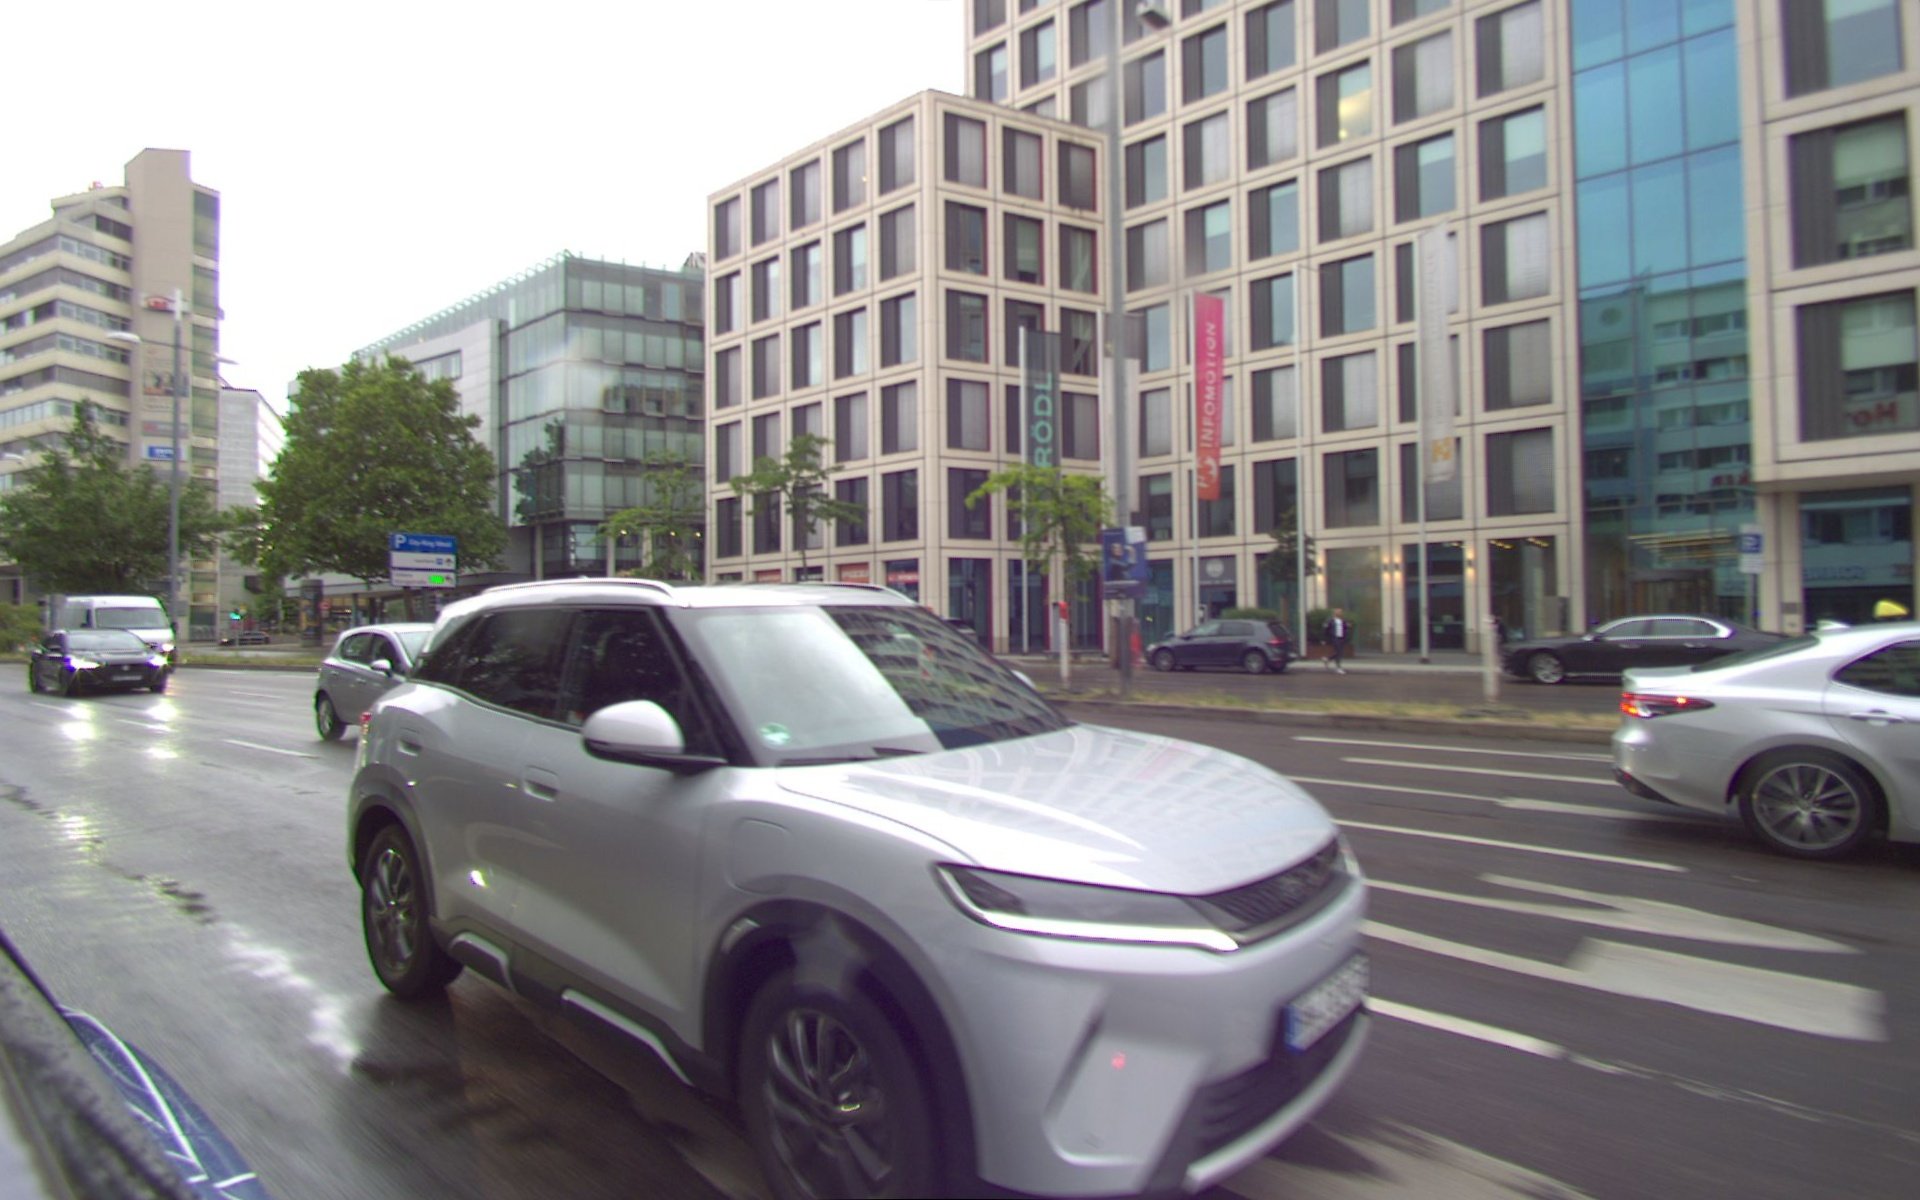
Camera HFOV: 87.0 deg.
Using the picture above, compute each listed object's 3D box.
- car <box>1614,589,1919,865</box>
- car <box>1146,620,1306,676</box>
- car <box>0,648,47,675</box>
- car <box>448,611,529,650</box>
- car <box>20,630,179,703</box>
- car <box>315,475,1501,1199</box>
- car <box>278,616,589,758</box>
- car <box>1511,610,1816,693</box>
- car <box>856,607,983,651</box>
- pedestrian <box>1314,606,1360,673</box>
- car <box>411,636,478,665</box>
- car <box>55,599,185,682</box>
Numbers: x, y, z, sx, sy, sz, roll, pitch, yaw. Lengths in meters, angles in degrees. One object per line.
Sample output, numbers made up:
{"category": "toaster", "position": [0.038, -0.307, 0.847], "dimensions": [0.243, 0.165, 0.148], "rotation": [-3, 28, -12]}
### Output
{"category": "car", "position": [6.636, 0.690, 5.667], "dimensions": [4.798, 1.533, 1.812], "rotation": [-1, 0, 41]}
{"category": "car", "position": [7.285, 1.294, 27.873], "dimensions": [3.950, 1.435, 1.681], "rotation": [-1, -3, 38]}
{"category": "car", "position": [-65.111, 4.236, 69.937], "dimensions": [4.860, 1.644, 1.811], "rotation": [-1, 0, 33]}
{"category": "car", "position": [-25.804, 1.651, 55.276], "dimensions": [4.908, 2.029, 1.975], "rotation": [-1, 0, 38]}
{"category": "car", "position": [-19.615, 1.441, 23.026], "dimensions": [4.234, 1.412, 1.882], "rotation": [-1, 0, 37]}
{"category": "car", "position": [-0.581, 0.658, 3.631], "dimensions": [4.168, 1.673, 1.790], "rotation": [-1, 0, 40]}
{"category": "car", "position": [-6.679, 0.960, 12.700], "dimensions": [4.117, 1.490, 1.755], "rotation": [-1, 0, 35]}
{"category": "car", "position": [14.809, 1.054, 21.596], "dimensions": [5.176, 1.581, 1.681], "rotation": [-1, -3, 38]}
{"category": "car", "position": [-1.438, 1.018, 35.140], "dimensions": [4.368, 1.435, 1.681], "rotation": [-1, -3, 38]}
{"category": "pedestrian", "position": [10.000, 1.034, 26.843], "dimensions": [0.604, 1.747, 0.970], "rotation": [0, 0, -30]}
{"category": "car", "position": [-29.830, 2.889, 58.505], "dimensions": [4.280, 1.541, 1.781], "rotation": [-1, 0, 38]}
{"category": "car", "position": [-26.823, 1.211, 32.250], "dimensions": [5.715, 2.403, 2.231], "rotation": [-1, 0, 40]}
